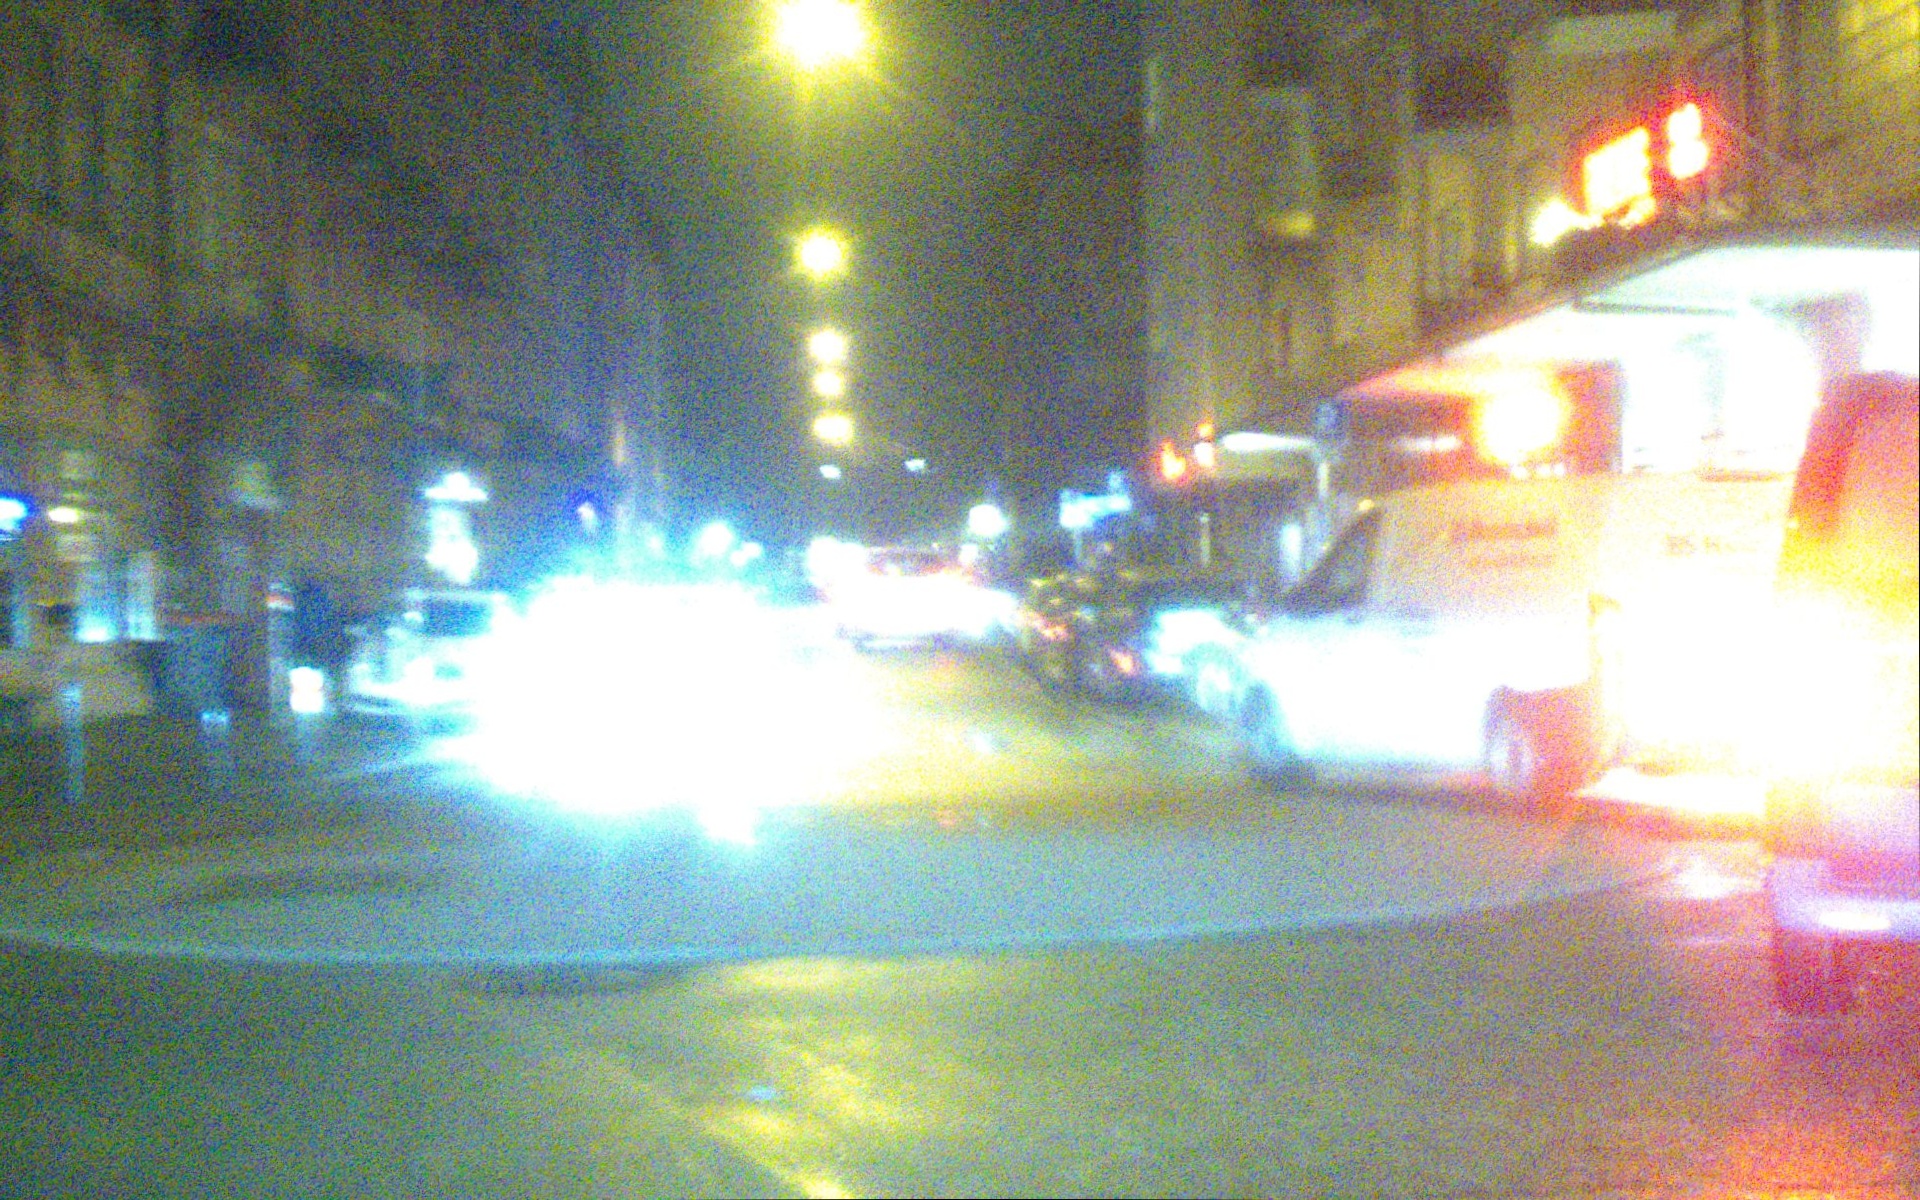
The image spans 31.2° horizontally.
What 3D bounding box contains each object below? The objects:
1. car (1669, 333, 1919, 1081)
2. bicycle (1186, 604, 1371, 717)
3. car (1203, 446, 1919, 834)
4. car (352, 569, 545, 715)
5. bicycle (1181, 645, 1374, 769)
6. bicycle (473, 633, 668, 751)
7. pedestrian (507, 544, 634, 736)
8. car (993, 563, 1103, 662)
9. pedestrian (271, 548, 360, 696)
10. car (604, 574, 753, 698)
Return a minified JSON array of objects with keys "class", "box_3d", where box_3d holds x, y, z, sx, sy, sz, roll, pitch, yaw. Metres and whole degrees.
[{"class":"car","box_3d":[3.533,0.259,11.234,2.124,1.984,4.598,0,0,15]},{"class":"bicycle","box_3d":[3.162,0.598,34.156,1.761,1.075,0.436,-1,1,-4]},{"class":"car","box_3d":[3.349,0.166,19.573,2.122,1.916,4.827,0,1,-20]},{"class":"car","box_3d":[-5.564,0.418,37.806,1.586,1.458,4.024,2,1,-2]},{"class":"bicycle","box_3d":[3.066,1.029,33.234,1.782,1.121,0.436,-2,1,-4]},{"class":"bicycle","box_3d":[-3.728,0.873,32.990,1.795,1.055,0.715,-1,1,-3]},{"class":"pedestrian","box_3d":[-3.729,0.373,32.978,1.121,1.805,0.715,-1,1,-3]},{"class":"car","box_3d":[1.392,0.210,55.596,1.591,1.538,3.420,0,0,-2]},{"class":"pedestrian","box_3d":[-7.781,0.264,41.534,0.804,1.760,1.015,1,0,4]},{"class":"car","box_3d":[-3.536,0.417,43.662,1.563,1.422,4.069,-2,1,-1]}]
